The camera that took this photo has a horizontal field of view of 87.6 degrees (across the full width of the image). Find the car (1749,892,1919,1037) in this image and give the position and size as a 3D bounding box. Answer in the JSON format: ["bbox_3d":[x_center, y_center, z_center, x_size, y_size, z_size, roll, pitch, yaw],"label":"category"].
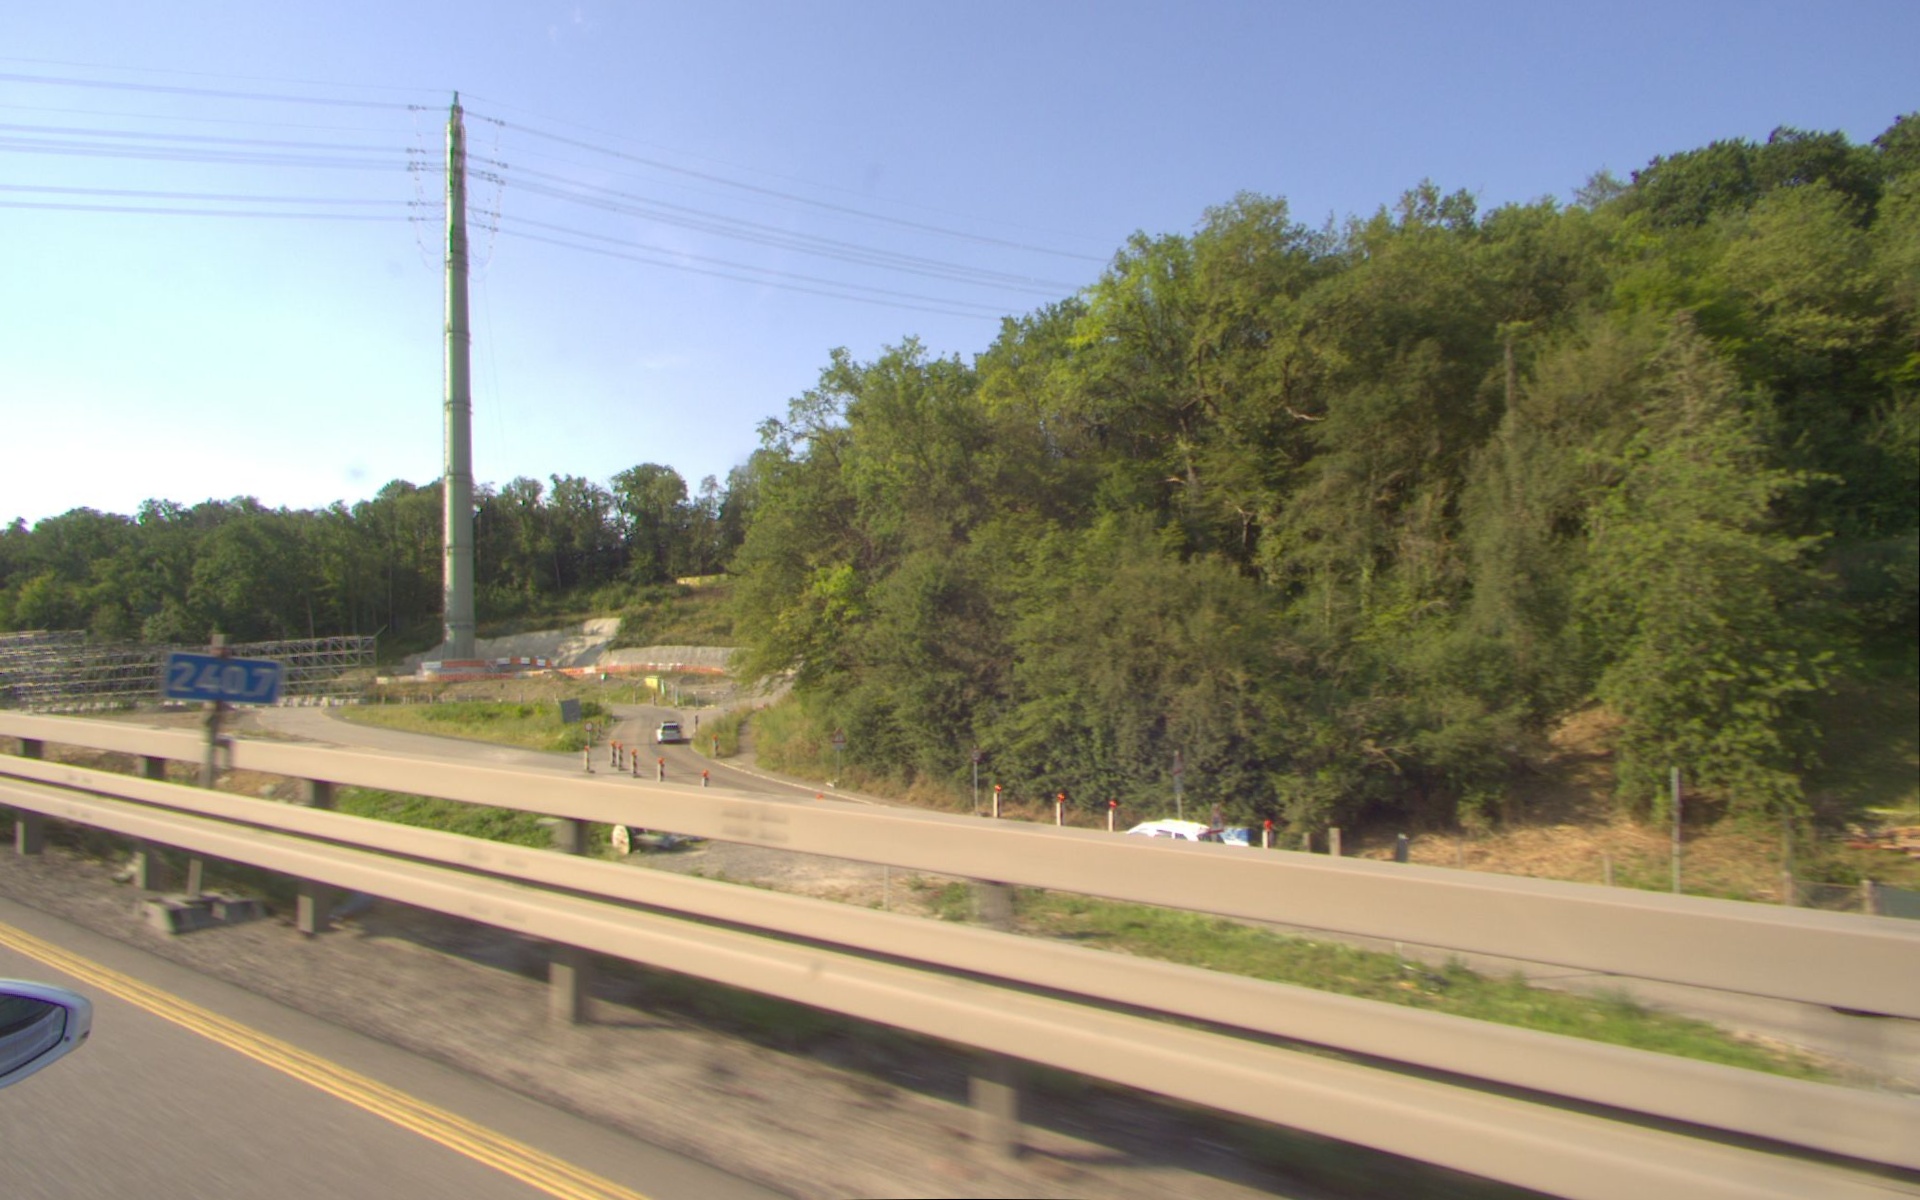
[{"bbox_3d":[17.918,7.028,18.941,1.849,1.807,4.458,1,-2,-42],"label":"car"}]

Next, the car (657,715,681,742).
[{"bbox_3d":[-21.263,9.373,73.088,1.504,1.479,4.260,-1,-1,-18],"label":"car"}]

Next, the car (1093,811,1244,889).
[{"bbox_3d":[6.485,7.762,31.470,4.425,1.681,1.660,-4,-5,43],"label":"car"}]
